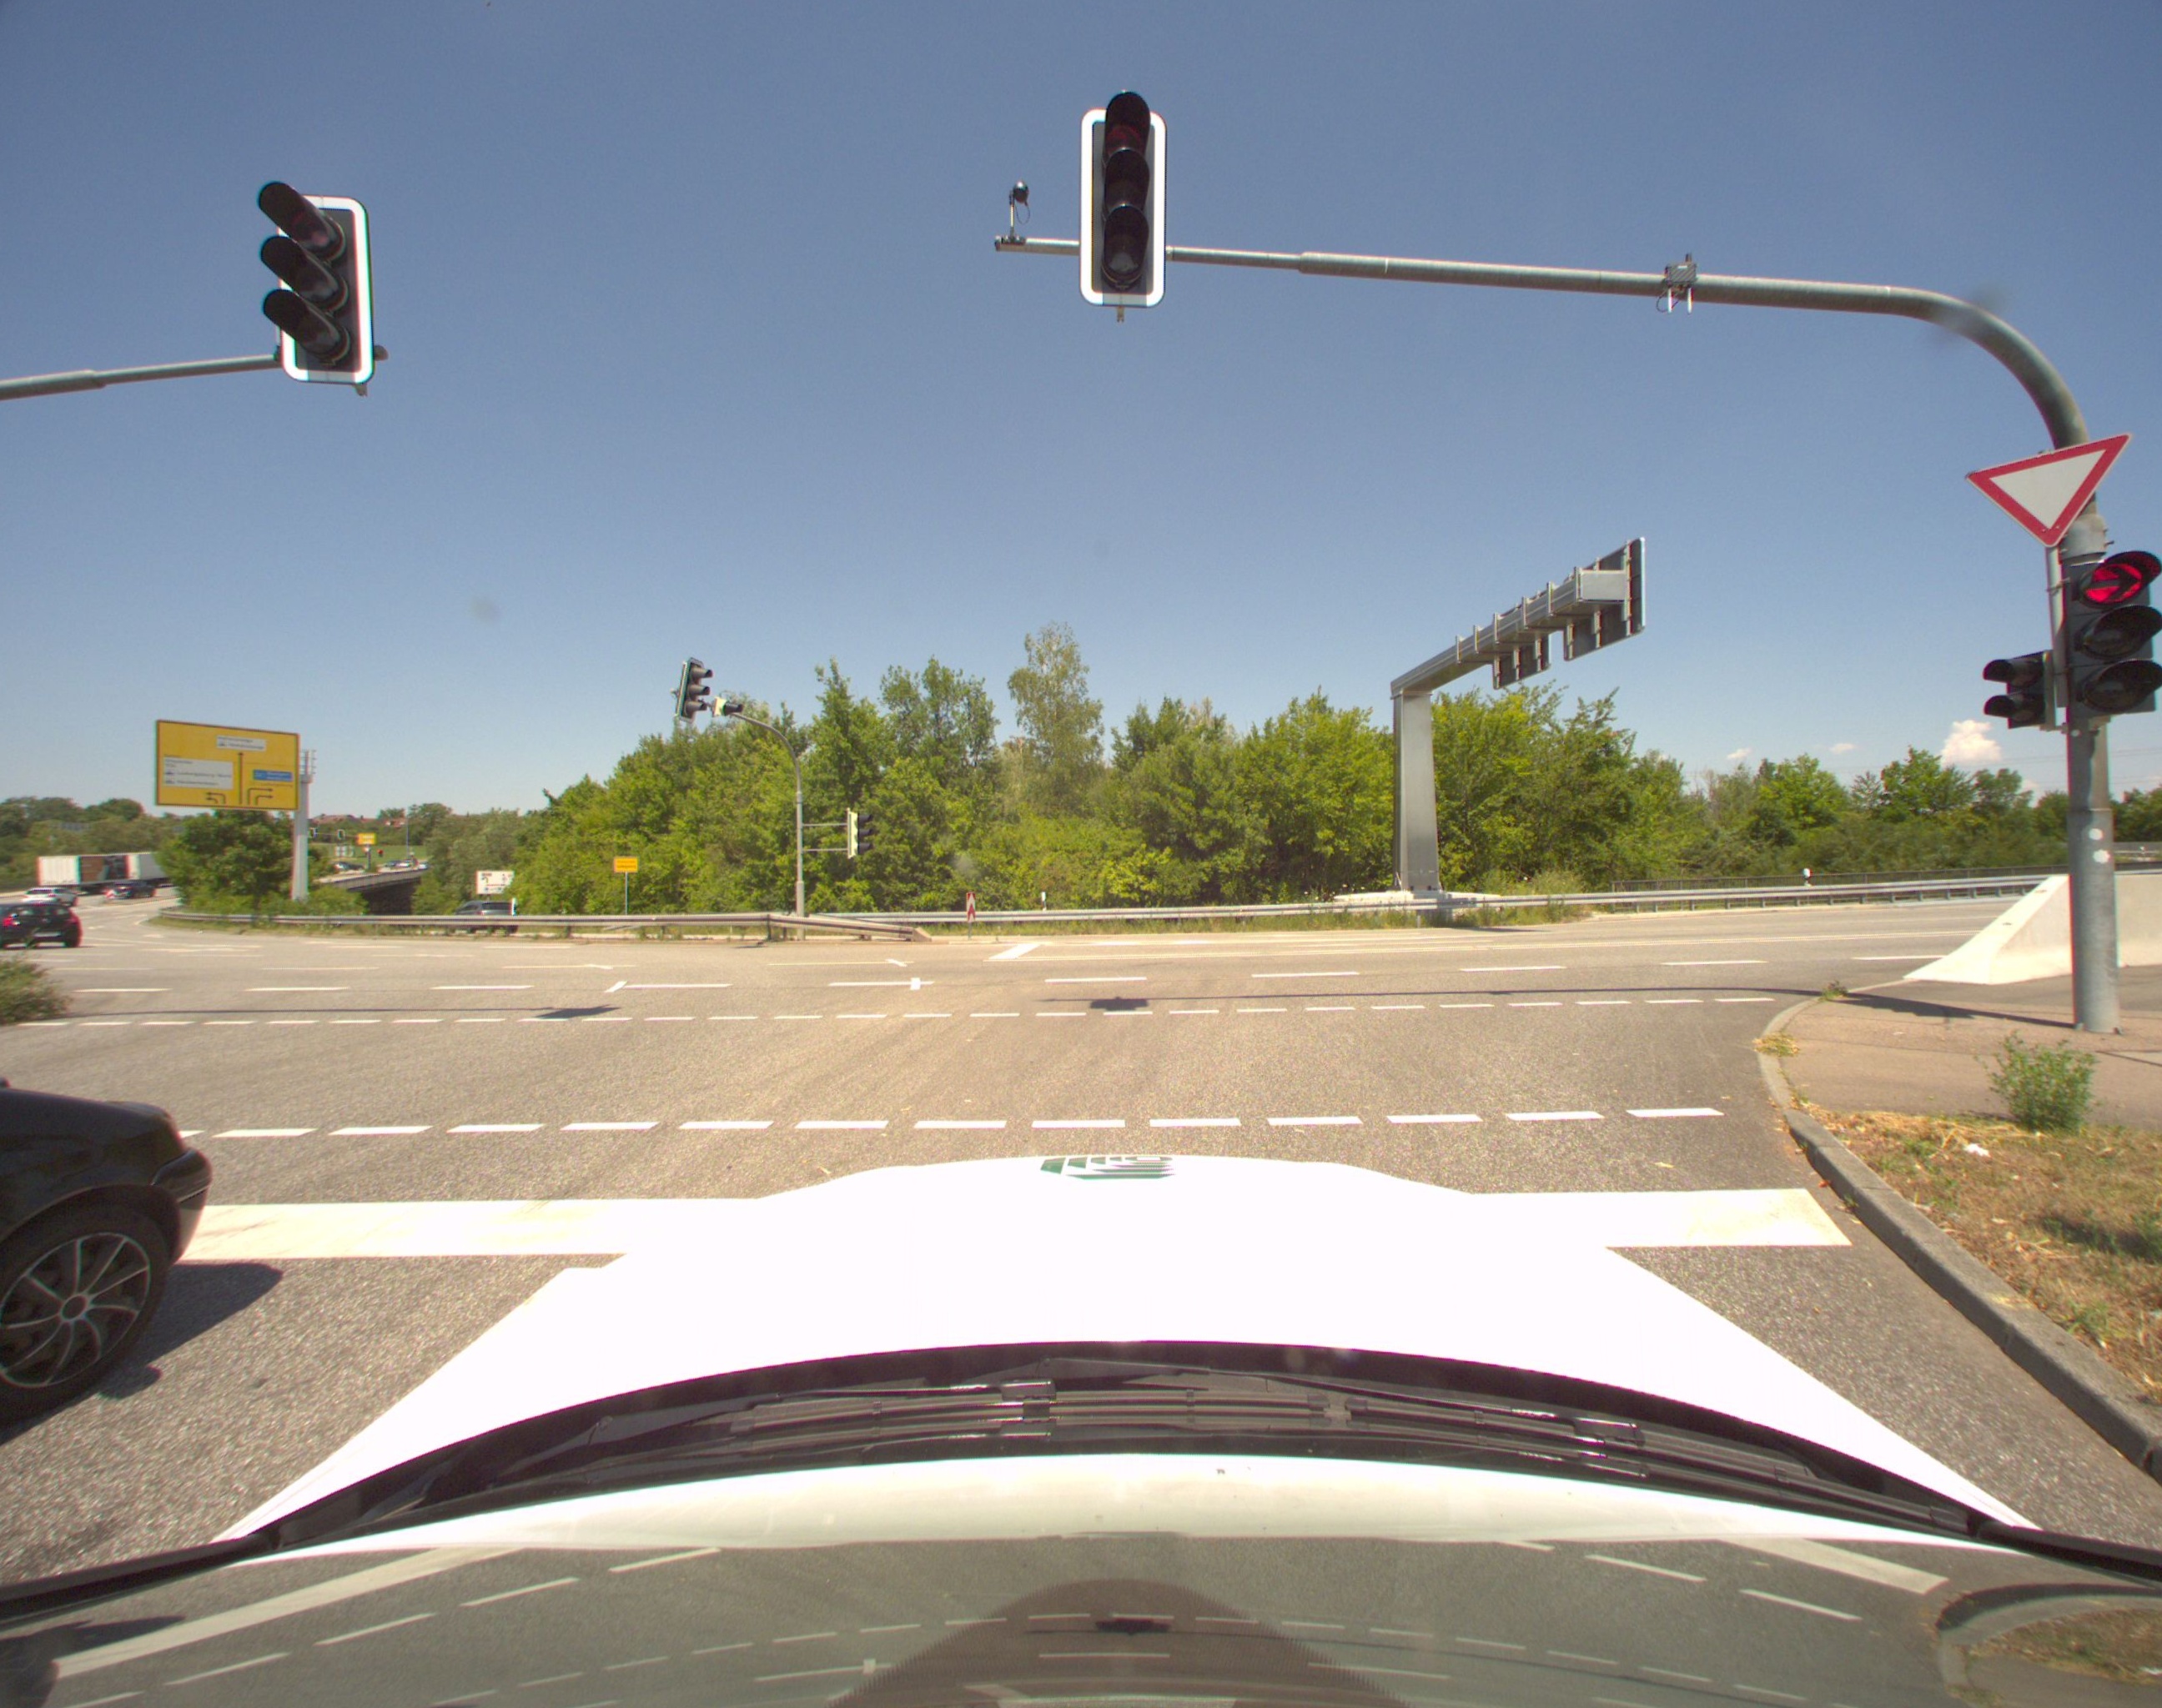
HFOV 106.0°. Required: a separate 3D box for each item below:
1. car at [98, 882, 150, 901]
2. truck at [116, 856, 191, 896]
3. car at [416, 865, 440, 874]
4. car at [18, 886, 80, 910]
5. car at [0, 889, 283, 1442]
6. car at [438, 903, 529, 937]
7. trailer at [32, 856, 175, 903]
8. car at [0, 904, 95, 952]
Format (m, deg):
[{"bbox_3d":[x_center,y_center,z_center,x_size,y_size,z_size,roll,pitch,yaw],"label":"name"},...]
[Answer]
[{"bbox_3d":[-89.882,3.507,76.560,2.007,1.552,3.959,0,-1,-32],"label":"car"},{"bbox_3d":[-104.022,2.413,91.463,3.247,4.248,6.186,0,0,-25],"label":"truck"},{"bbox_3d":[-127.557,3.047,159.182,1.795,1.631,3.810,0,0,-5],"label":"car"},{"bbox_3d":[-84.074,3.586,66.429,1.942,1.665,3.959,0,0,-33],"label":"car"},{"bbox_3d":[-3.591,0.827,1.210,1.615,1.407,3.298,-1,0,-2],"label":"car"},{"bbox_3d":[-27.180,2.966,37.004,4.356,1.434,1.823,-2,-4,33],"label":"car"},{"bbox_3d":[-100.849,2.423,84.572,3.247,4.248,15.281,0,0,-25],"label":"trailer"},{"bbox_3d":[-33.950,2.332,26.175,3.880,1.434,1.821,-2,-4,24],"label":"car"}]
